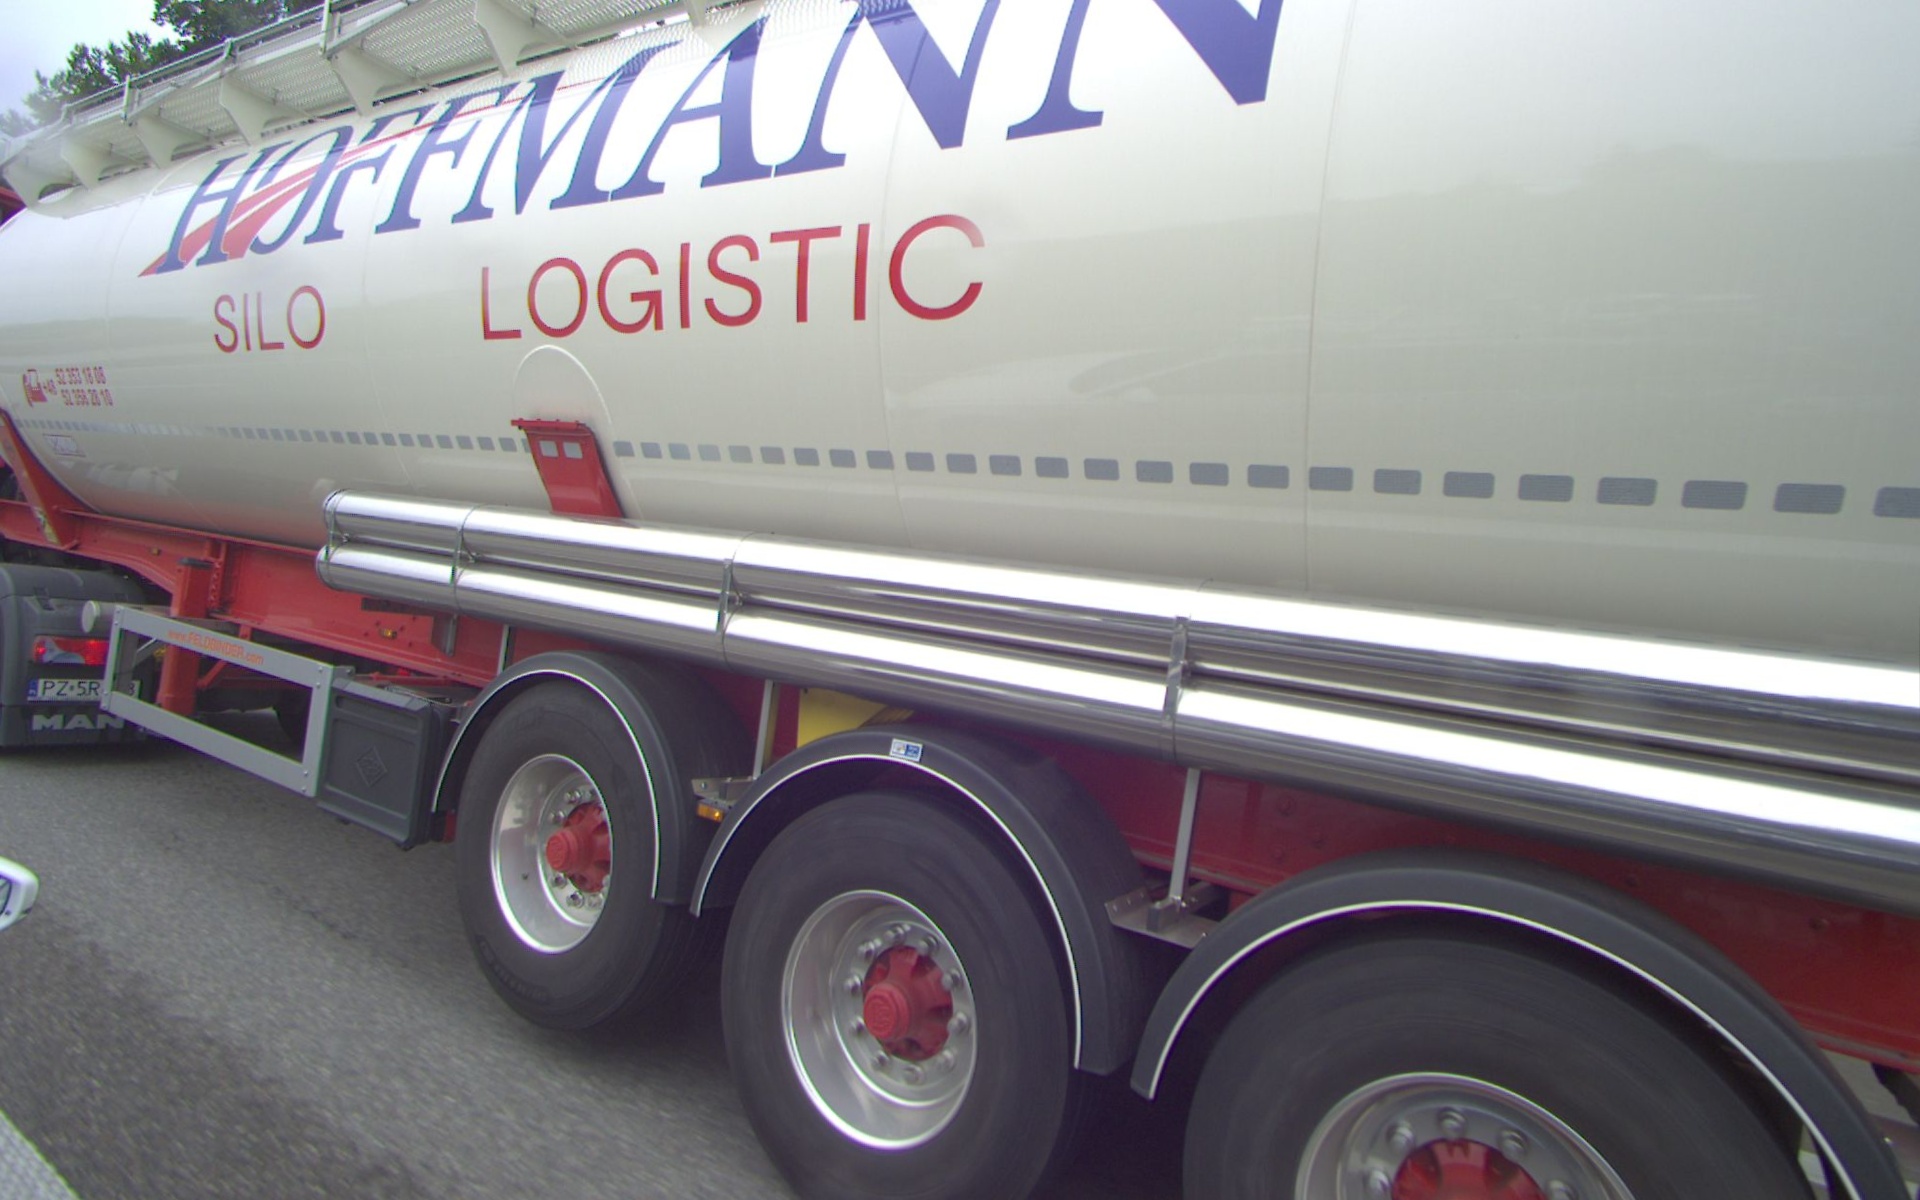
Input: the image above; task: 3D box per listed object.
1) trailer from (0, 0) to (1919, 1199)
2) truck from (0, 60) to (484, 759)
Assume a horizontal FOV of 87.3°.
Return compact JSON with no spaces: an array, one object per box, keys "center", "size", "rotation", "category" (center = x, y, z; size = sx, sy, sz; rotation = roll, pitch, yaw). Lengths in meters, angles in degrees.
[{"center":[-1.550,-0.605,4.805],"size":[12.911,3.986,2.672],"rotation":[7,-1,31],"category":"trailer"},{"center":[-7.406,-1.258,8.515],"size":[6.448,3.960,2.699],"rotation":[7,0,32],"category":"truck"}]
